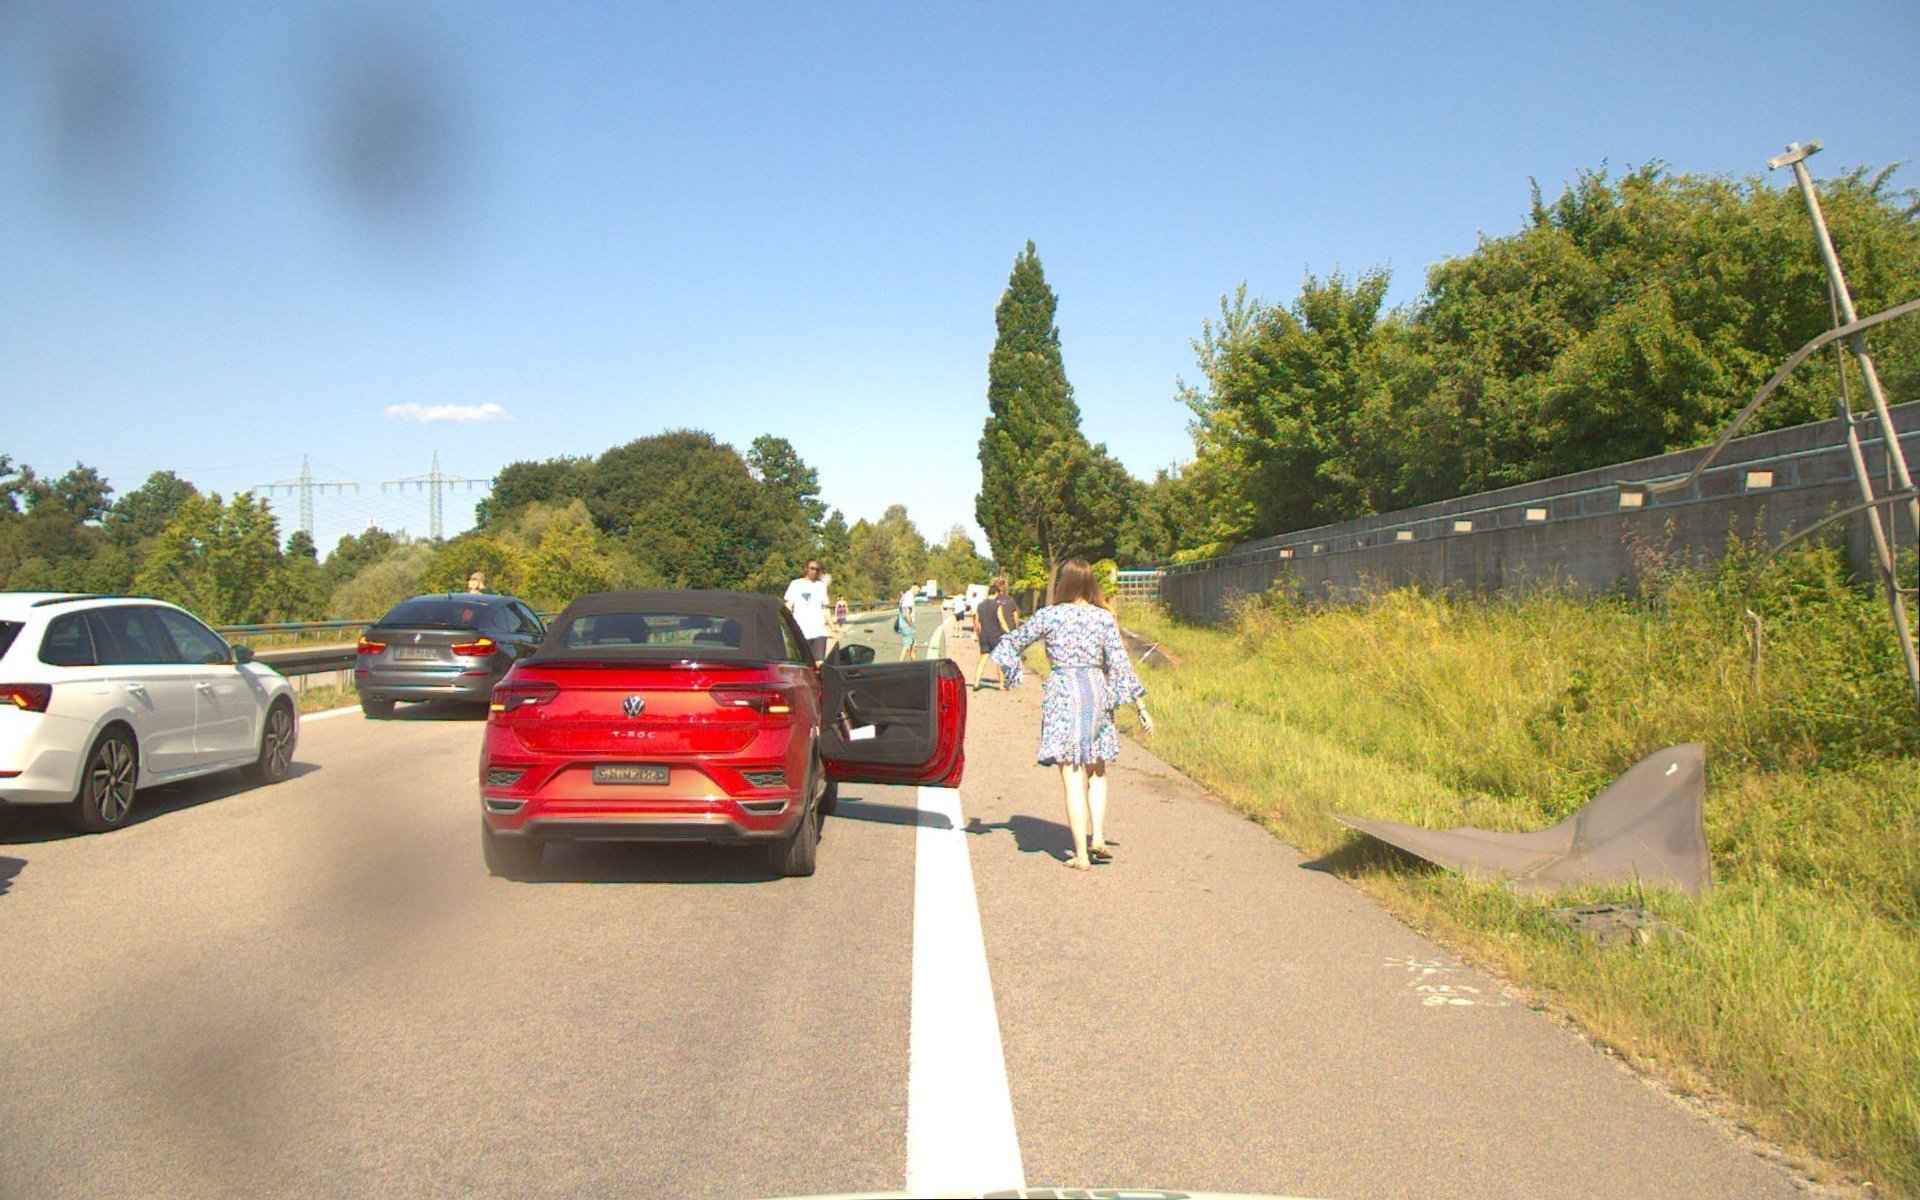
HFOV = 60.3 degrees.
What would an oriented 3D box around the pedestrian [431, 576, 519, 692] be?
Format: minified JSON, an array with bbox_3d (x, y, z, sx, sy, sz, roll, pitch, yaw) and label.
[{"bbox_3d":[-7.724,0.524,26.376,1.092,1.794,1.043,-1,0,-3],"label":"pedestrian"}]

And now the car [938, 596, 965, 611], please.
[{"bbox_3d":[-0.852,0.374,169.056,1.695,1.513,4.213,1,0,15],"label":"car"}]

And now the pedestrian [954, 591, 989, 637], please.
[{"bbox_3d":[0.431,0.516,62.337,0.995,1.719,0.991,1,-1,-27],"label":"pedestrian"}]

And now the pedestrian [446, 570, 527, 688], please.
[{"bbox_3d":[-7.858,0.469,27.492,1.044,1.916,1.093,-1,0,-2],"label":"pedestrian"}]

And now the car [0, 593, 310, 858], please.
[{"bbox_3d":[-6.073,0.697,11.331,1.660,1.467,4.209,1,0,-2],"label":"car"}]

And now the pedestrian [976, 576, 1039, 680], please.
[{"bbox_3d":[0.841,0.481,29.058,0.810,1.790,0.813,0,-1,30],"label":"pedestrian"}]

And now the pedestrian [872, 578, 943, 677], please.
[{"bbox_3d":[-0.999,0.514,31.256,1.071,1.820,1.102,1,-1,-18],"label":"pedestrian"}]

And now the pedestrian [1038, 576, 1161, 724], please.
[{"bbox_3d":[1.637,0.573,19.597,1.250,1.682,0.959,-1,0,-9],"label":"pedestrian"}]

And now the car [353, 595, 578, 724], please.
[{"bbox_3d":[-6.160,0.676,21.090,1.660,1.451,4.332,1,0,-2],"label":"car"}]

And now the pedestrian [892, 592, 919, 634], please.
[{"bbox_3d":[-2.262,0.541,69.106,0.992,1.719,1.060,1,-1,4],"label":"pedestrian"}]

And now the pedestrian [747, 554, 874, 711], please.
[{"bbox_3d":[-1.927,0.407,21.360,1.228,1.946,1.109,-1,0,24],"label":"pedestrian"}]

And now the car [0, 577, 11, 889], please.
[{"bbox_3d":[-5.239,0.667,5.845,1.755,1.519,4.484,-1,0,-9],"label":"car"}]

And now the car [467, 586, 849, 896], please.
[{"bbox_3d":[-1.627,0.691,10.260,1.697,1.513,4.209,1,0,-2],"label":"car"}]

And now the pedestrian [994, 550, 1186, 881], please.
[{"bbox_3d":[0.701,0.605,9.299,0.872,1.725,1.127,-1,0,-5],"label":"pedestrian"}]

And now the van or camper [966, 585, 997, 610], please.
[{"bbox_3d":[2.151,-0.243,162.405,1.951,2.356,4.473,1,0,16],"label":"van or camper"}]

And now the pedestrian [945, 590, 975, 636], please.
[{"bbox_3d":[-0.019,0.496,62.769,1.091,1.719,0.973,1,-1,-2],"label":"pedestrian"}]

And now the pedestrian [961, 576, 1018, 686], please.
[{"bbox_3d":[0.476,0.505,27.073,0.877,1.755,0.754,1,-1,-3],"label":"pedestrian"}]

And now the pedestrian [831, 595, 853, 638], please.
[{"bbox_3d":[-4.819,0.673,67.426,0.775,1.719,0.792,1,-1,3],"label":"pedestrian"}]
